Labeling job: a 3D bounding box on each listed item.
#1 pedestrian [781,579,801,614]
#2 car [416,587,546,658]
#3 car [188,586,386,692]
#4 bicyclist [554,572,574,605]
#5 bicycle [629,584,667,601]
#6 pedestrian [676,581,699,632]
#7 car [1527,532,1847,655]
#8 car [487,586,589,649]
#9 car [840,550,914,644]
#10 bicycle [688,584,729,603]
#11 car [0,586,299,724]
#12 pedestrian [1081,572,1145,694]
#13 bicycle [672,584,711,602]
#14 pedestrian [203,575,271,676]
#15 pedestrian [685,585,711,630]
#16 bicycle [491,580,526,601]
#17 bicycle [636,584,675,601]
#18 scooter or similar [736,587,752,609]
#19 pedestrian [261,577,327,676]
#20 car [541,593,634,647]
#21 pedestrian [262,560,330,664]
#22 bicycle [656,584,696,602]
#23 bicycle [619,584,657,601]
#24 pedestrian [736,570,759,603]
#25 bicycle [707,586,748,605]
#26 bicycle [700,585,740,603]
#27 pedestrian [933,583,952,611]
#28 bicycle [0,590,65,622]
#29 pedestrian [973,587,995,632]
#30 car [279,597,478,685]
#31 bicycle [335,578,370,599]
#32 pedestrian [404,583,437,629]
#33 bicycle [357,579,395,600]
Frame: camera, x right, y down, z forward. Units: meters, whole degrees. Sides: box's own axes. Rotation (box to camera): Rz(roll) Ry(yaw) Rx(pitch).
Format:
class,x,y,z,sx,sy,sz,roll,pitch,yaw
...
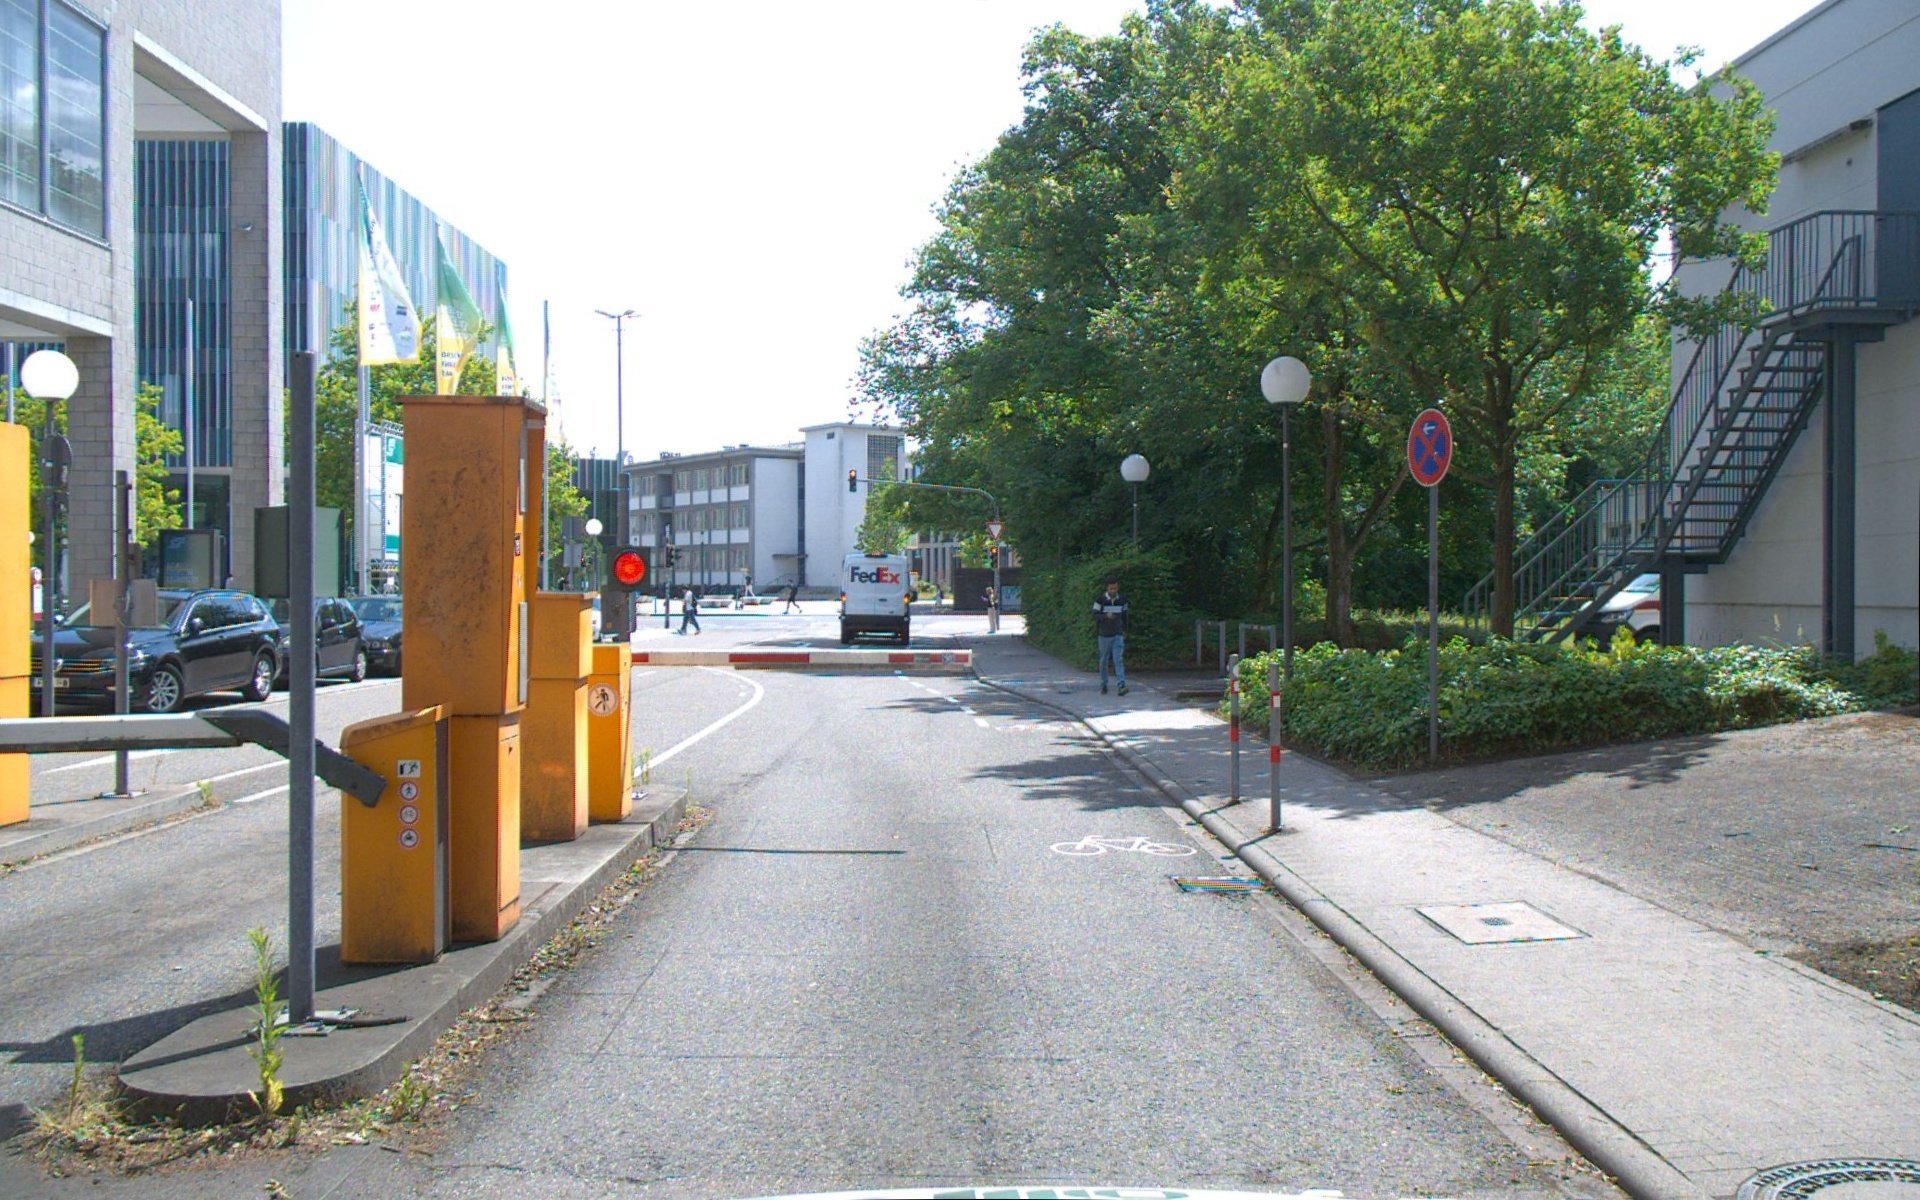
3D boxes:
class,x,y,z,sx,sy,sz,roll,pitch,yaw
pedestrian,-9.352,-0.188,91.689,1.059,1.903,0.832,0,0,-3
car,-11.034,0.484,38.383,1.712,1.493,4.197,2,0,1
car,-10.466,0.552,25.994,1.605,1.493,3.706,2,0,-1
bicyclist,-22.024,-0.640,91.976,0.772,1.849,1.000,0,1,8
bicycle,-25.848,-0.599,136.968,2.936,1.387,1.101,0,0,-39
pedestrian,-10.001,0.234,60.807,0.704,1.891,0.770,0,0,0
car,12.690,-0.118,29.075,4.726,2.049,2.061,0,0,-1
car,-10.976,0.423,43.252,1.642,1.493,3.910,2,0,0
car,-2.396,-0.120,48.934,2.053,2.611,5.600,-1,1,-2
bicycle,-19.519,-0.496,128.416,2.936,1.387,1.258,0,0,-39
car,-10.198,0.600,20.925,1.822,1.493,4.717,2,0,-1
pedestrian,2.191,0.457,23.828,0.725,1.704,1.255,0,0,-4
bicycle,-21.199,-0.560,130.557,2.936,1.387,1.101,0,0,-39
pedestrian,-14.991,0.513,34.335,0.965,2.049,1.163,0,0,-5
pedestrian,-9.802,0.267,61.900,0.826,1.680,0.746,0,0,0
bicycle,-28.638,-0.608,104.909,1.188,1.259,2.912,0,0,-37
bicycle,-24.938,-0.583,135.505,2.936,1.387,1.101,0,0,-39
scooter or similar,-12.267,-0.108,93.867,0.704,1.199,2.717,0,0,-12
pedestrian,-13.951,0.537,34.668,0.965,2.049,1.163,0,0,-5
car,-10.787,0.535,48.242,1.642,1.419,4.662,2,0,0
pedestrian,-13.416,0.230,33.451,0.965,2.049,1.163,0,0,-5
bicycle,-22.767,-0.553,132.633,2.936,1.387,1.101,0,0,-39
bicycle,-26.996,-0.634,138.785,2.936,1.387,1.101,0,0,-39
pedestrian,-13.414,-0.858,104.581,1.116,2.049,1.157,0,0,13
bicycle,-17.723,-0.359,126.093,2.936,1.387,1.101,0,0,-39
bicycle,-18.469,-0.479,127.176,2.936,1.387,1.101,0,0,-39
pedestrian,-0.967,-0.175,91.901,0.813,1.550,0.810,0,0,-20
bicycle,-34.630,0.224,61.254,2.556,1.133,0.665,1,0,-3
pedestrian,0.872,0.333,60.044,0.717,1.603,0.774,1,0,-6
car,-10.610,0.697,30.620,1.821,1.402,5.017,2,0,1
bicycle,-36.455,-0.708,99.238,1.188,1.259,2.912,0,0,-37
pedestrian,-22.229,0.241,68.141,0.835,1.909,1.006,0,0,22
bicycle,-35.224,-0.631,99.714,1.364,1.259,2.911,0,0,-38
